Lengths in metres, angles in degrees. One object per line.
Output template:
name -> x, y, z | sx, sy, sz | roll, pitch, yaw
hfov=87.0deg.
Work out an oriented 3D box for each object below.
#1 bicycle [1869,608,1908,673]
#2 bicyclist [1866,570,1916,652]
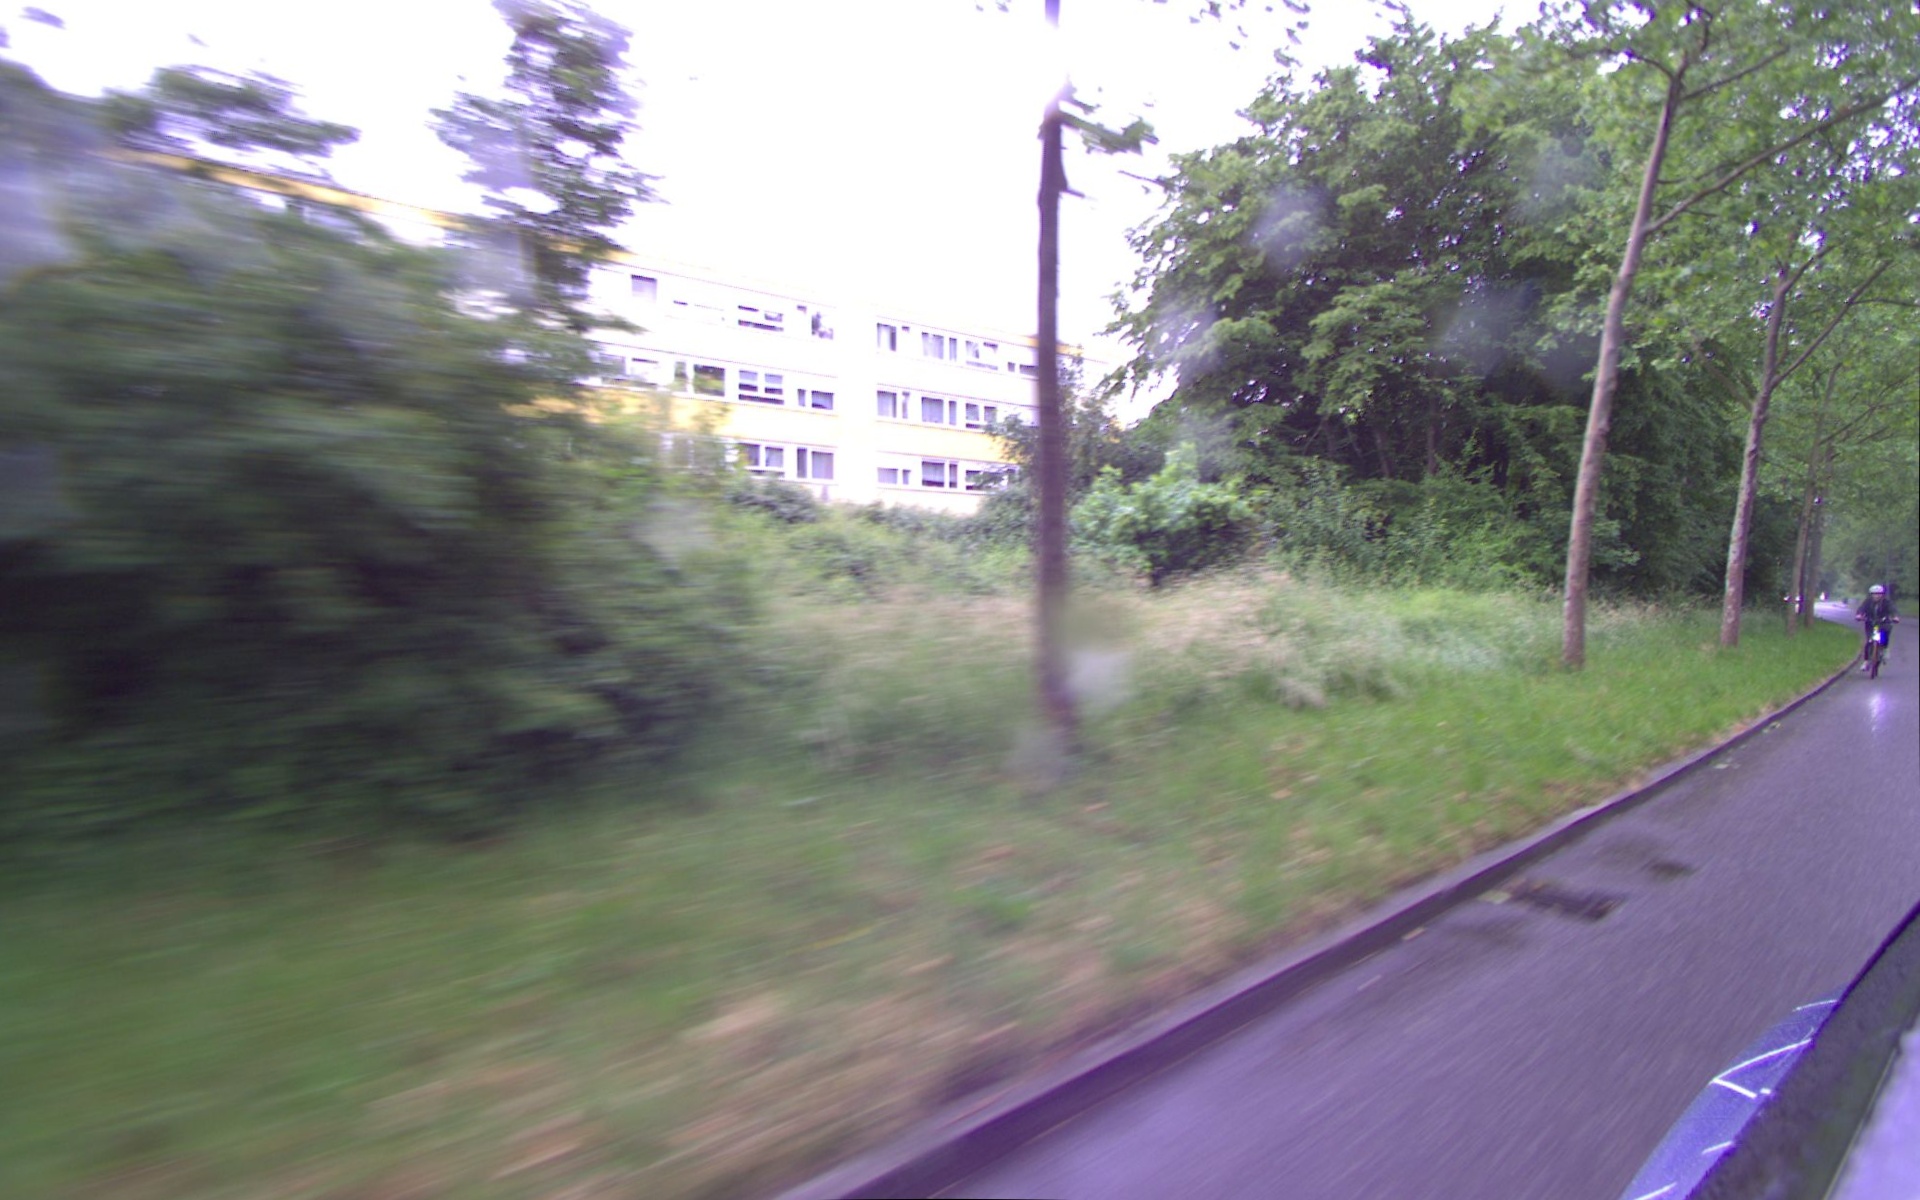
bicycle -> 17.657, 0.745, 19.244 | 1.803, 1.148, 0.452 | -1, 0, -45
bicyclist -> 17.681, 0.201, 19.217 | 0.696, 1.516, 0.787 | 0, 1, 44
